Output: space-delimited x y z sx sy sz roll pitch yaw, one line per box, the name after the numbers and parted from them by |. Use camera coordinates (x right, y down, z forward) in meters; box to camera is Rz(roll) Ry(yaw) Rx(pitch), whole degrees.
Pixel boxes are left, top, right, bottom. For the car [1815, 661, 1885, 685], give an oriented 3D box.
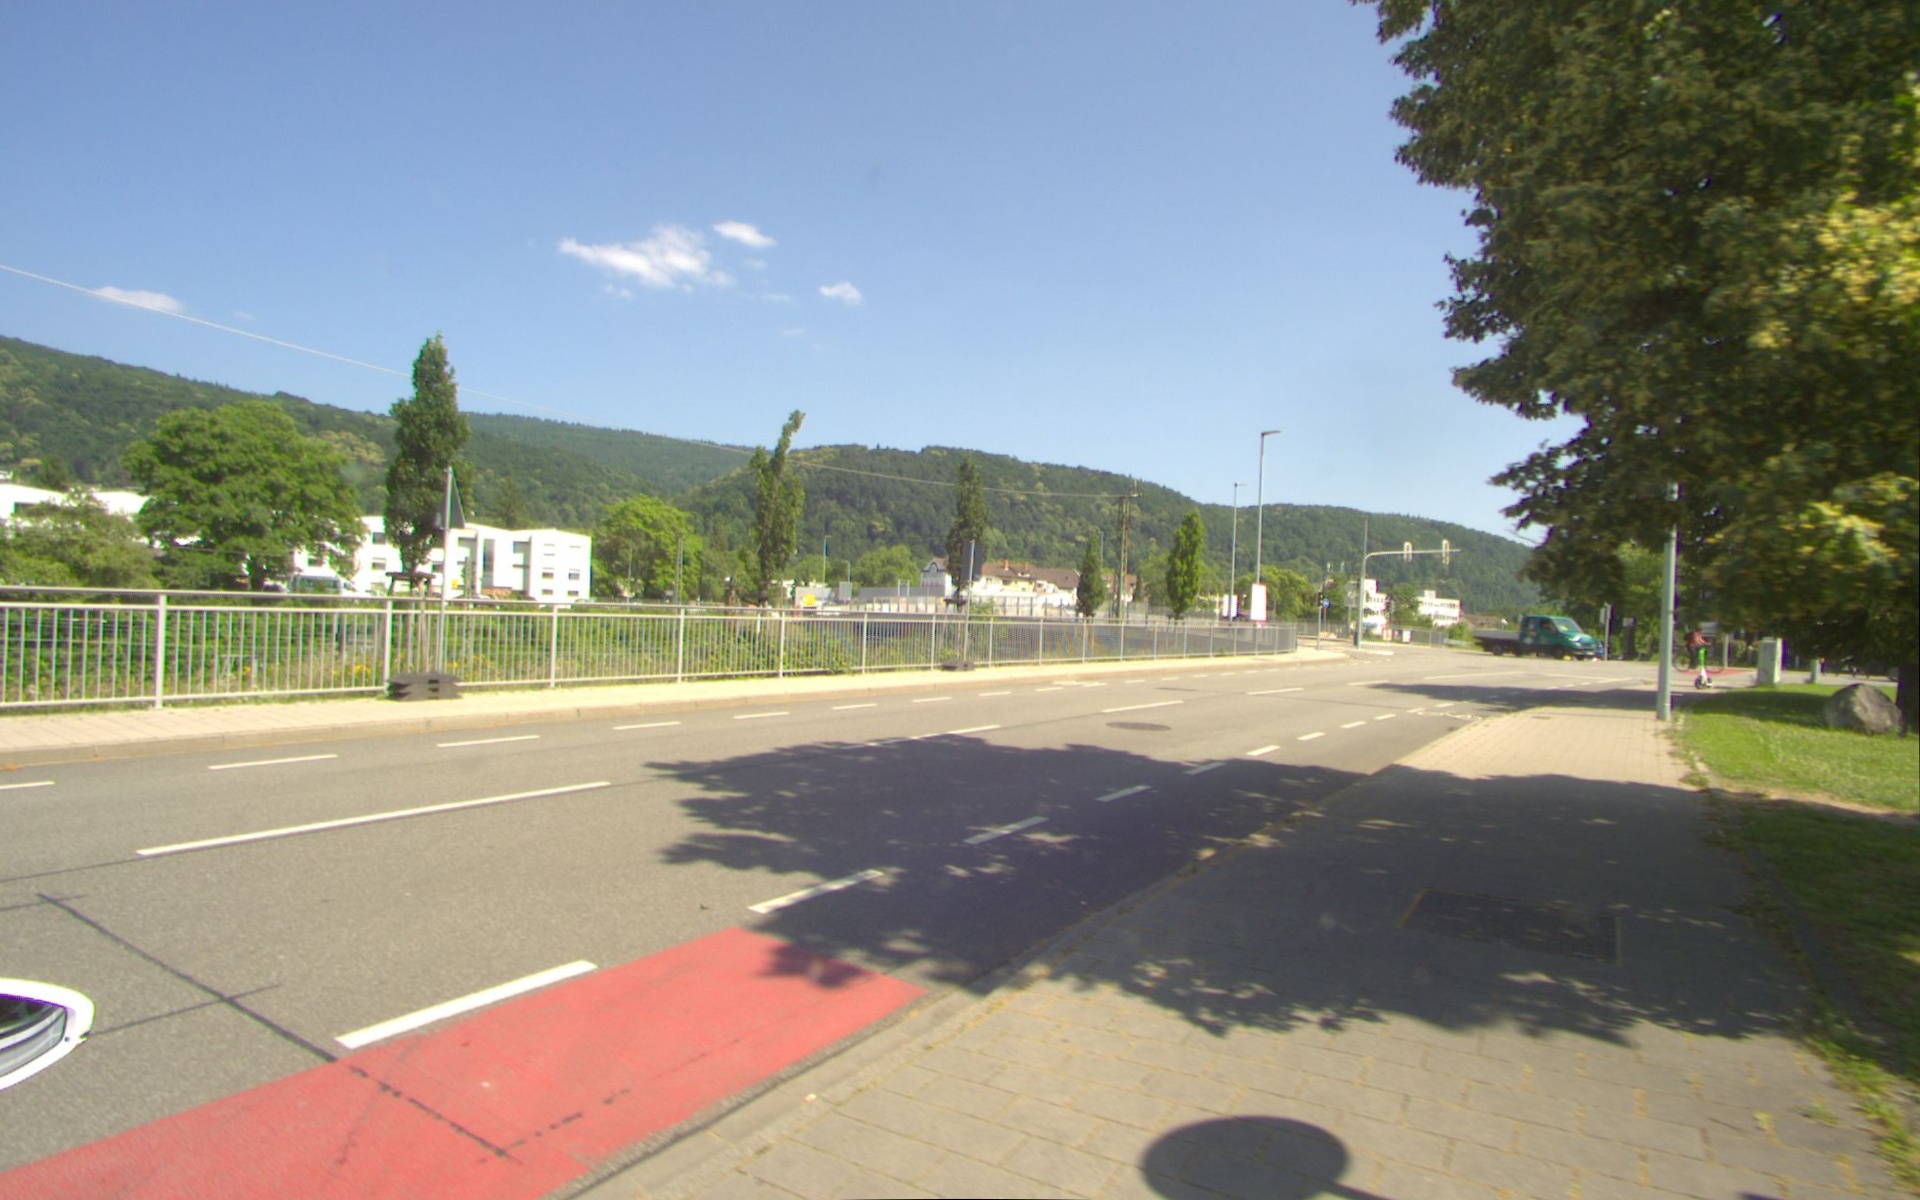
41.455 3.395 46.677 0.567 0.914 2.370 -1 2 -29 | car

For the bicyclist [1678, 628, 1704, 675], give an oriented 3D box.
30.401 2.125 41.657 0.544 1.922 0.653 -1 2 -28 | bicyclist

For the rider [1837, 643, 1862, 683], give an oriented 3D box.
41.456 2.927 46.670 0.540 1.838 0.682 -1 2 -30 | rider

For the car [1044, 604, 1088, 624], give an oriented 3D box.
9.612 1.243 91.085 1.803 1.674 4.747 -1 1 -25 | car

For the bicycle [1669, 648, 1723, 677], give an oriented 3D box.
30.485 2.592 41.511 0.574 1.057 1.717 -1 2 -28 | bicycle

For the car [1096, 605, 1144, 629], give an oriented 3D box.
13.409 1.405 84.220 1.804 1.874 4.350 -1 2 -27 | car

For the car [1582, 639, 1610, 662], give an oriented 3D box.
47.326 3.762 74.557 1.587 1.556 3.665 3 0 31 | car

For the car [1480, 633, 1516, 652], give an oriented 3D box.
38.705 3.039 71.988 1.591 1.271 3.657 3 0 39 | car

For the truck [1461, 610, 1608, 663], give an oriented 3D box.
30.232 1.891 52.962 2.352 2.406 6.352 3 0 -30 | truck

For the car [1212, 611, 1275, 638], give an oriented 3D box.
20.461 1.756 72.406 1.805 1.702 4.345 -1 2 -30 | car

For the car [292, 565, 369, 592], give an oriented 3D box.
-55.654 -1.843 88.633 2.114 2.128 5.470 -4 -3 43 | car
